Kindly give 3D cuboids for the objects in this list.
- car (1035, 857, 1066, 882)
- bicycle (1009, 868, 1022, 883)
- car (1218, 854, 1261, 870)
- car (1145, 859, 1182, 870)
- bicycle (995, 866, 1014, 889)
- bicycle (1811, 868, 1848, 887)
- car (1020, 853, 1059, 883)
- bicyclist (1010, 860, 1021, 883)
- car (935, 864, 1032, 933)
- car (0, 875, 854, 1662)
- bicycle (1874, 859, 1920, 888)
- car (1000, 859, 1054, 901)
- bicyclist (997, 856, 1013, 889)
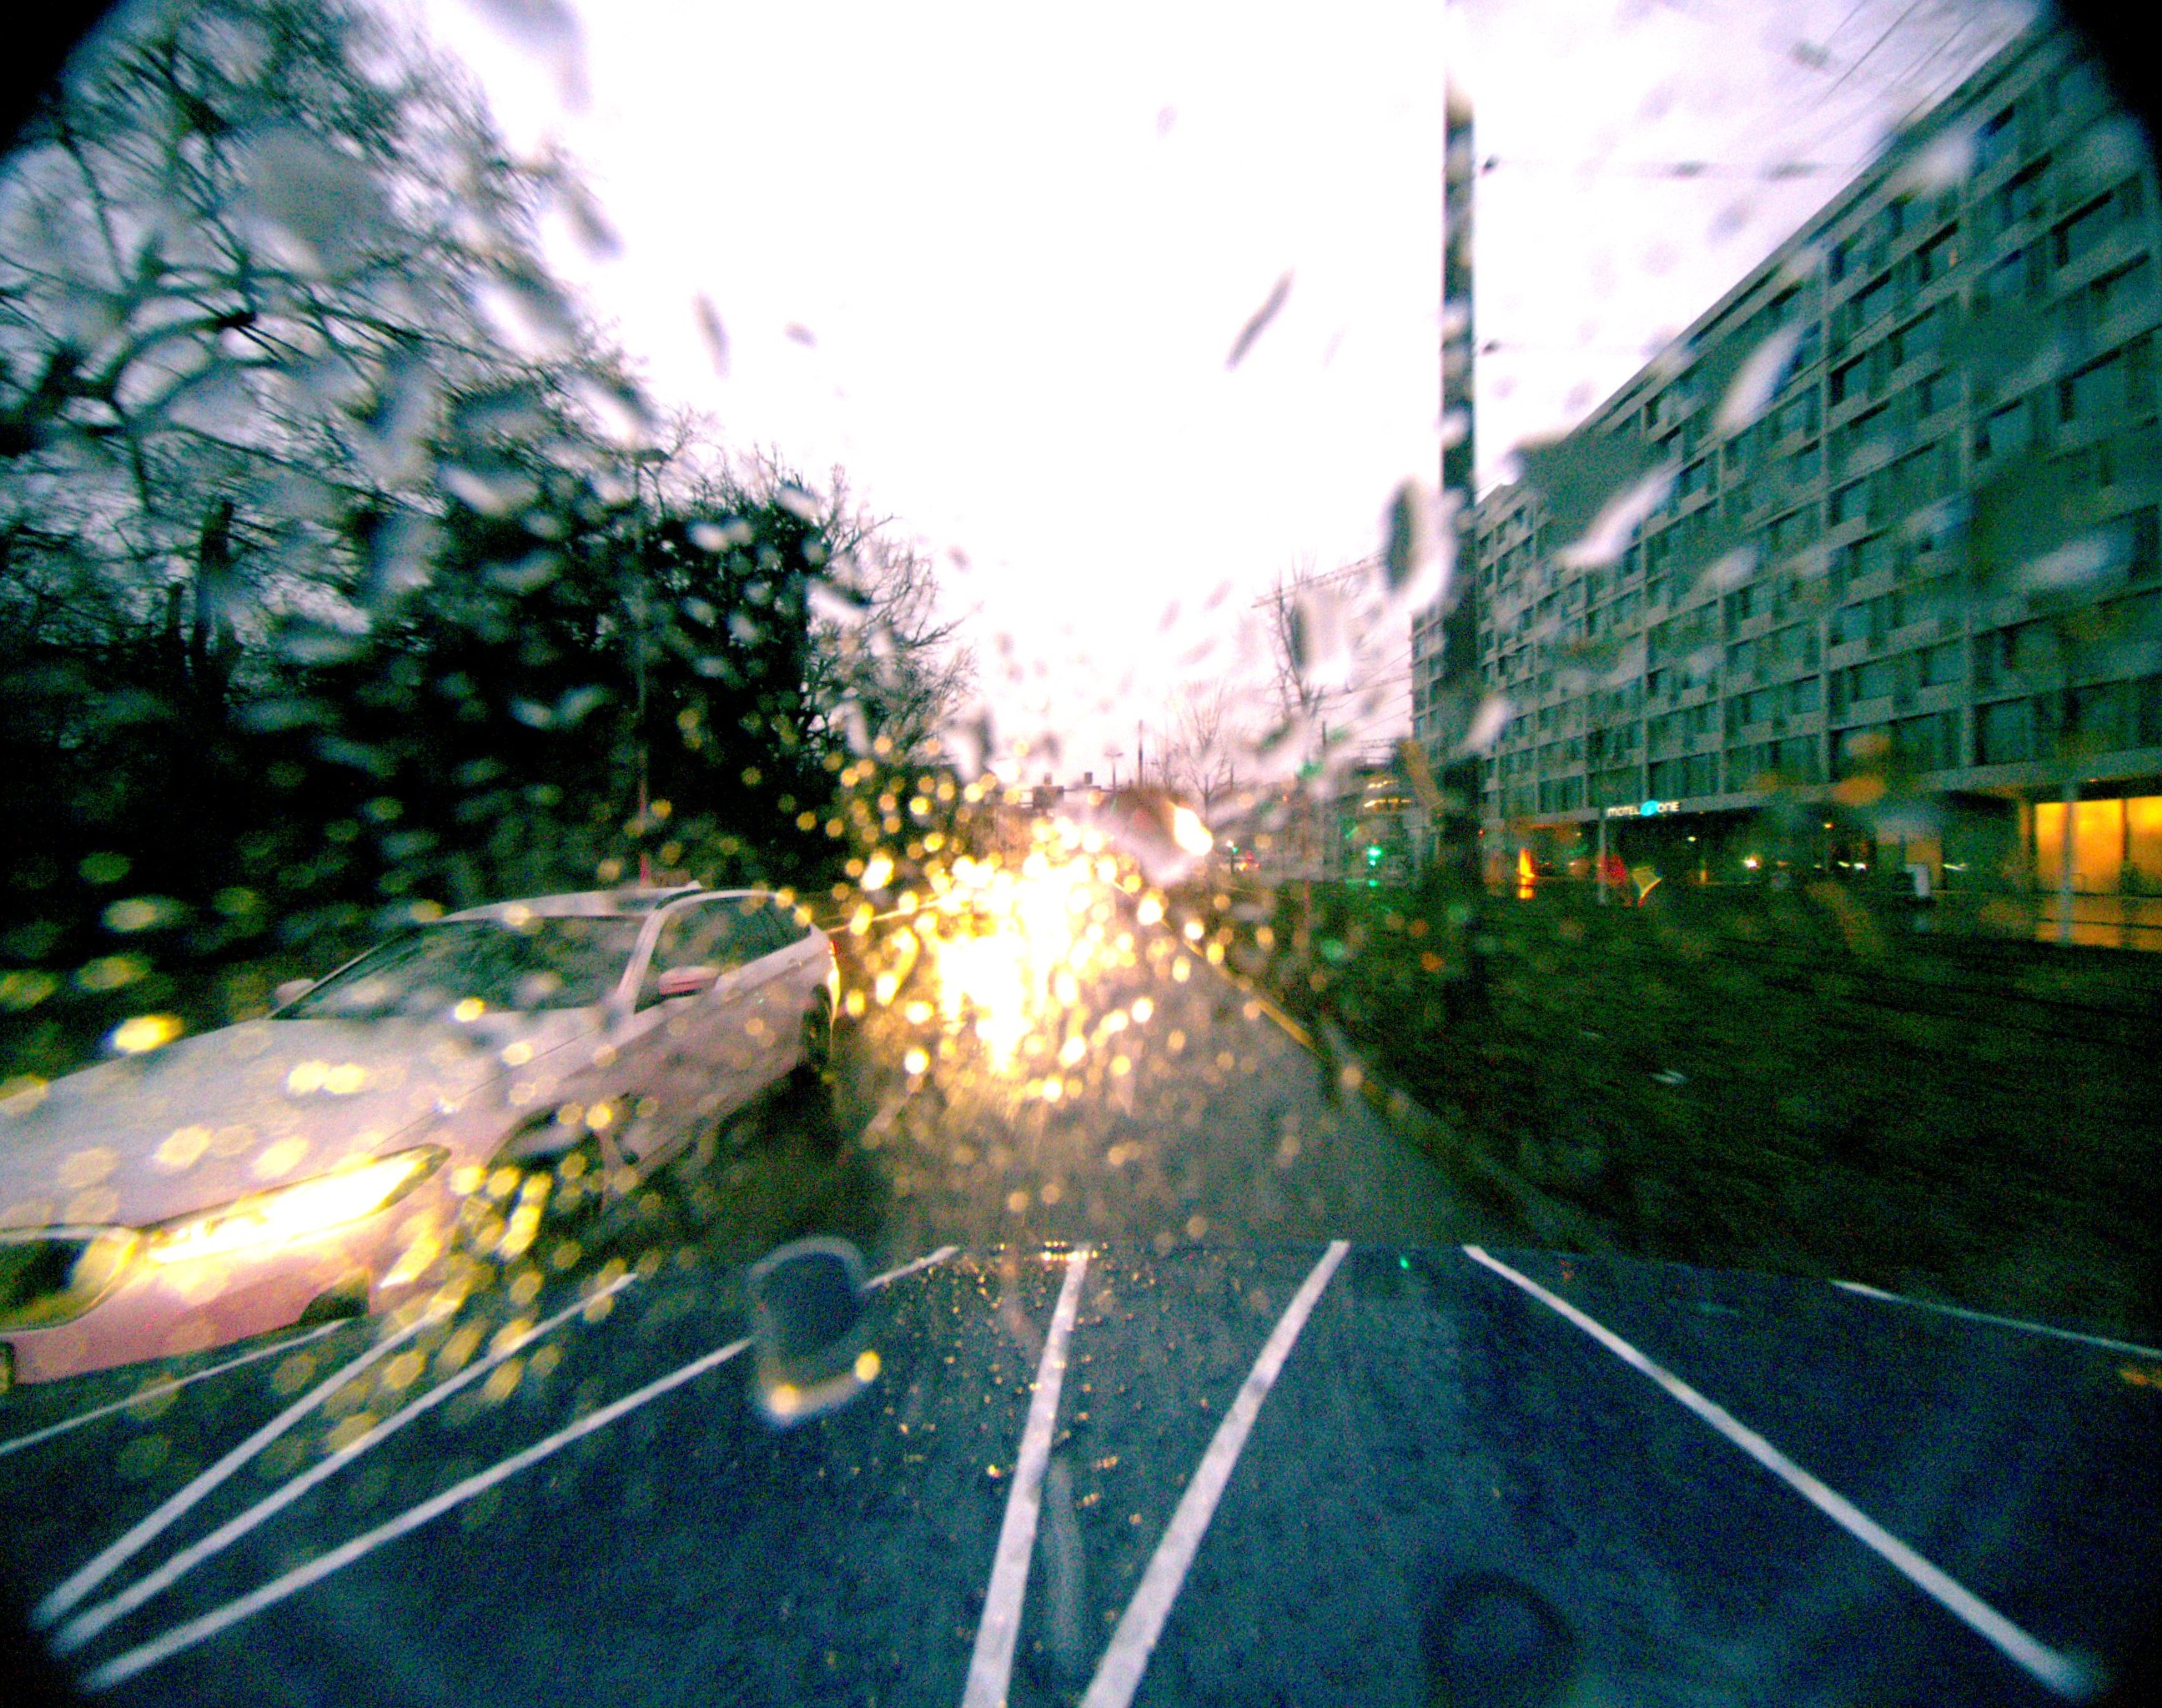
[{"bbox_3d":[-2.185,1.109,55.510,1.998,1.618,4.268,-2,0,1],"label":"car"},{"bbox_3d":[-4.867,1.573,56.497,0.691,1.036,1.721,-2,0,1],"label":"bicycle"},{"bbox_3d":[17.126,0.870,82.417,2.091,1.659,5.033,0,0,-24],"label":"car"},{"bbox_3d":[9.805,1.240,89.995,3.989,1.300,1.821,-1,0,34],"label":"car"},{"bbox_3d":[-5.309,1.649,53.237,0.968,1.442,3.389,-3,0,-1],"label":"bicycle"},{"bbox_3d":[36.263,1.139,36.819,1.349,0.849,0.465,-3,1,-1],"label":"bicycle"},{"bbox_3d":[-2.379,0.793,44.838,2.073,1.618,4.267,-3,0,-1],"label":"car"},{"bbox_3d":[-4.884,1.265,56.528,0.691,1.675,0.593,-2,1,1],"label":"bicyclist"},{"bbox_3d":[-2.403,1.054,19.700,1.886,1.552,4.171,0,0,1],"label":"car"},{"bbox_3d":[-2.839,0.950,4.056,1.867,1.546,4.937,0,0,-2],"label":"car"},{"bbox_3d":[36.712,0.866,34.180,1.539,1.231,0.465,-3,1,-1],"label":"bicycle"},{"bbox_3d":[-2.326,1.084,33.803,2.073,1.618,4.267,-3,0,-1],"label":"car"},{"bbox_3d":[-5.314,1.274,53.101,0.968,2.210,0.935,-3,1,-1],"label":"bicyclist"}]
